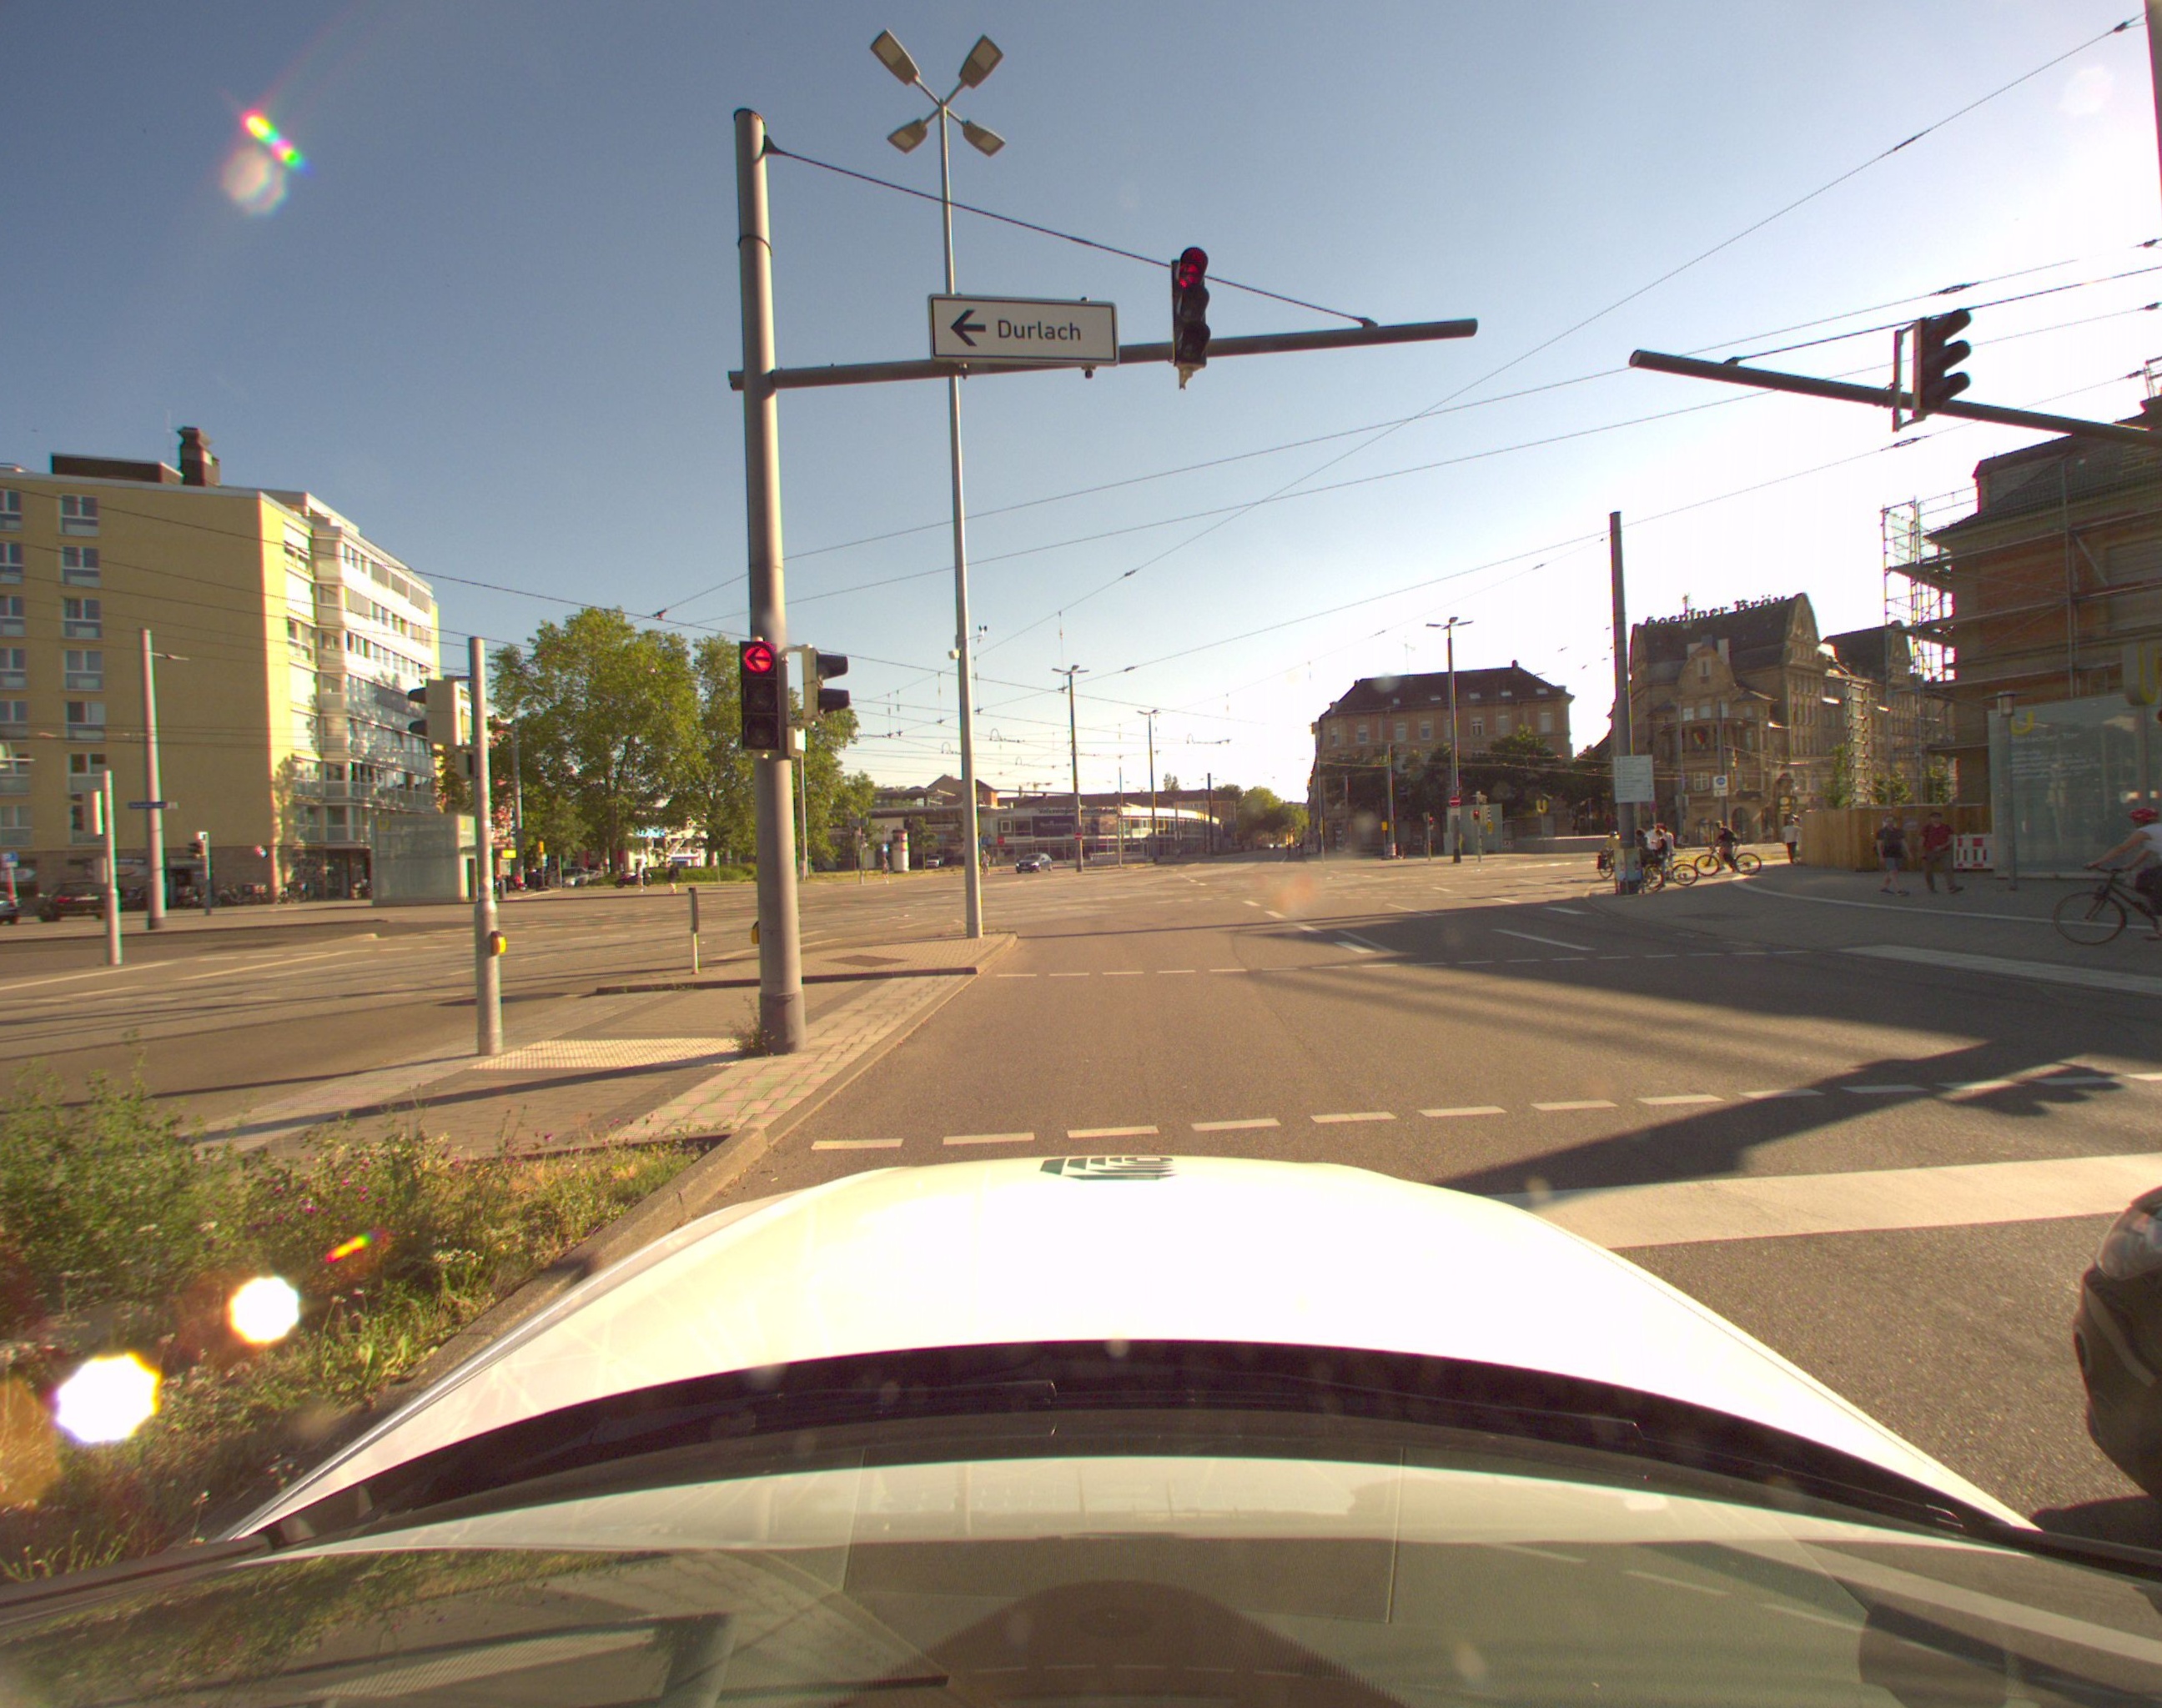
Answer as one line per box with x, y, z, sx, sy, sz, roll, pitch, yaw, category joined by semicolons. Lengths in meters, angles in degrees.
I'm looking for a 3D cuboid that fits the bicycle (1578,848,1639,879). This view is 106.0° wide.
19.093;0.319;29.554;0.533;1.049;2.315;0;1;-6;bicycle

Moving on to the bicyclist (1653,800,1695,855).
17.275;-0.740;23.734;0.935;1.557;0.715;-1;-1;33;bicyclist

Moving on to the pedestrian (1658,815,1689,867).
22.180;-0.476;30.486;0.646;1.922;0.689;0;-1;-6;pedestrian

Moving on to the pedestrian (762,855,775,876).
-25.929;0.949;67.506;0.854;1.694;0.497;0;-1;-1;pedestrian

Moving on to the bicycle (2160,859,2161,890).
14.838;0.513;9.898;0.657;0.963;2.033;-4;0;-3;bicycle

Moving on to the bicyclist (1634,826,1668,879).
15.922;-0.032;22.760;0.701;1.439;0.953;-1;-1;30;bicyclist

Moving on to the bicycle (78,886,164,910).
-50.114;2.280;42.557;3.041;1.151;0.637;0;-1;-16;bicycle

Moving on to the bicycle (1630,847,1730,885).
17.351;0.352;23.682;2.290;1.049;0.705;-1;-1;32;bicycle

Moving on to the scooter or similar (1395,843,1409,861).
24.777;-0.176;62.857;0.780;1.376;1.916;-1;-1;16;scooter or similar

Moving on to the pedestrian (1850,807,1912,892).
17.450;-0.099;17.764;0.672;1.807;0.680;-3;0;-19;pedestrian

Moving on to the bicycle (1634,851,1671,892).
15.933;0.448;22.743;0.692;1.049;2.335;0;1;31;bicycle

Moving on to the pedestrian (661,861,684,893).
-21.524;1.205;42.905;0.790;1.706;0.760;-1;-1;9;pedestrian

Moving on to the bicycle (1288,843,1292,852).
22.614;-0.669;88.033;0.407;0.941;1.852;-1;-1;15;bicycle

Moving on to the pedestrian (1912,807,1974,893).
18.467;-0.085;17.460;0.672;1.807;0.680;0;-1;-19;pedestrian

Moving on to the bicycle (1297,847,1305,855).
25.379;-0.337;93.949;0.653;0.952;1.603;-1;-1;8;bicycle

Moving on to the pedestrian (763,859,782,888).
-18.641;1.165;49.169;0.790;1.706;0.760;-1;-1;9;pedestrian

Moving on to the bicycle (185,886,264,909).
-46.501;2.354;44.242;3.041;1.151;0.637;0;-1;-16;bicycle

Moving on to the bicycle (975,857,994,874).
-7.078;0.854;59.956;0.607;1.189;1.878;-1;-1;19;bicycle

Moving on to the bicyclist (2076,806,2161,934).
13.397;0.196;10.292;0.665;1.553;0.792;0;-1;-8;bicyclist

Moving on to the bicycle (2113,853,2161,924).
15.855;0.485;11.148;0.661;0.963;2.018;-4;1;-25;bicycle

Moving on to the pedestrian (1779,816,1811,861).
28.890;-0.625;32.953;0.646;1.814;0.689;0;-1;-6;pedestrian

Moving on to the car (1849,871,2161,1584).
2.909;0.733;0.269;1.617;1.404;4.001;0;-1;2;car

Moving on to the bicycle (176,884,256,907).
-46.247;2.233;43.576;3.041;1.151;0.637;0;-1;-16;bicycle

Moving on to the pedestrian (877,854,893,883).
-12.757;0.947;52.943;0.790;1.886;0.760;-1;-1;9;pedestrian

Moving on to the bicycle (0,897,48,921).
-54.475;2.815;41.134;3.041;1.151;0.637;0;-1;-16;bicycle

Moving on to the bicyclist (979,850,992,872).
-7.032;0.531;60.100;0.593;1.615;0.827;-1;-1;19;bicyclist

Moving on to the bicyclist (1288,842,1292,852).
22.674;-0.763;88.266;0.405;1.116;0.400;-1;-1;13;bicyclist

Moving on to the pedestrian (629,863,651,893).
-25.216;1.377;46.557;0.790;1.706;0.760;-1;-1;9;pedestrian

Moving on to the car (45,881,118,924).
-44.161;2.085;35.980;3.948;1.706;1.730;-1;-1;35;car

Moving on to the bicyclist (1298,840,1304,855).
25.363;-0.716;93.880;0.516;1.700;0.517;0;-1;4;bicyclist

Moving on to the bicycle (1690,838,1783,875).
21.465;0.078;26.725;2.290;1.049;0.539;-5;-1;36;bicycle

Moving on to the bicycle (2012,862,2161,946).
13.407;0.619;10.342;0.657;0.963;2.030;-5;0;-6;bicycle

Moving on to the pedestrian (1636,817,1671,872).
21.374;-0.355;30.396;0.730;2.014;0.760;0;-1;-6;pedestrian

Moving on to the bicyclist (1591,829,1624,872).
19.094;-0.126;29.549;0.514;1.557;0.945;0;-1;-7;bicyclist

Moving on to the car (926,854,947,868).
-17.720;0.850;99.948;1.988;1.750;3.997;0;-1;-2;car

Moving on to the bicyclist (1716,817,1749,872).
21.406;-0.291;26.765;0.785;1.779;0.526;-1;-1;37;bicyclist

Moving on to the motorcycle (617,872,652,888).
-27.264;1.585;49.746;1.779;0.914;0.675;0;-1;-19;motorcycle

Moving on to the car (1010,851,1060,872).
-3.481;0.569;61.968;1.975;1.585;4.024;-1;-1;29;car

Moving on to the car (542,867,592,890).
-37.308;1.729;59.227;1.772;1.567;3.983;0;-1;-12;car

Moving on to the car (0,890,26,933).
-47.005;2.465;34.876;3.948;1.706;2.013;-1;-1;35;car
